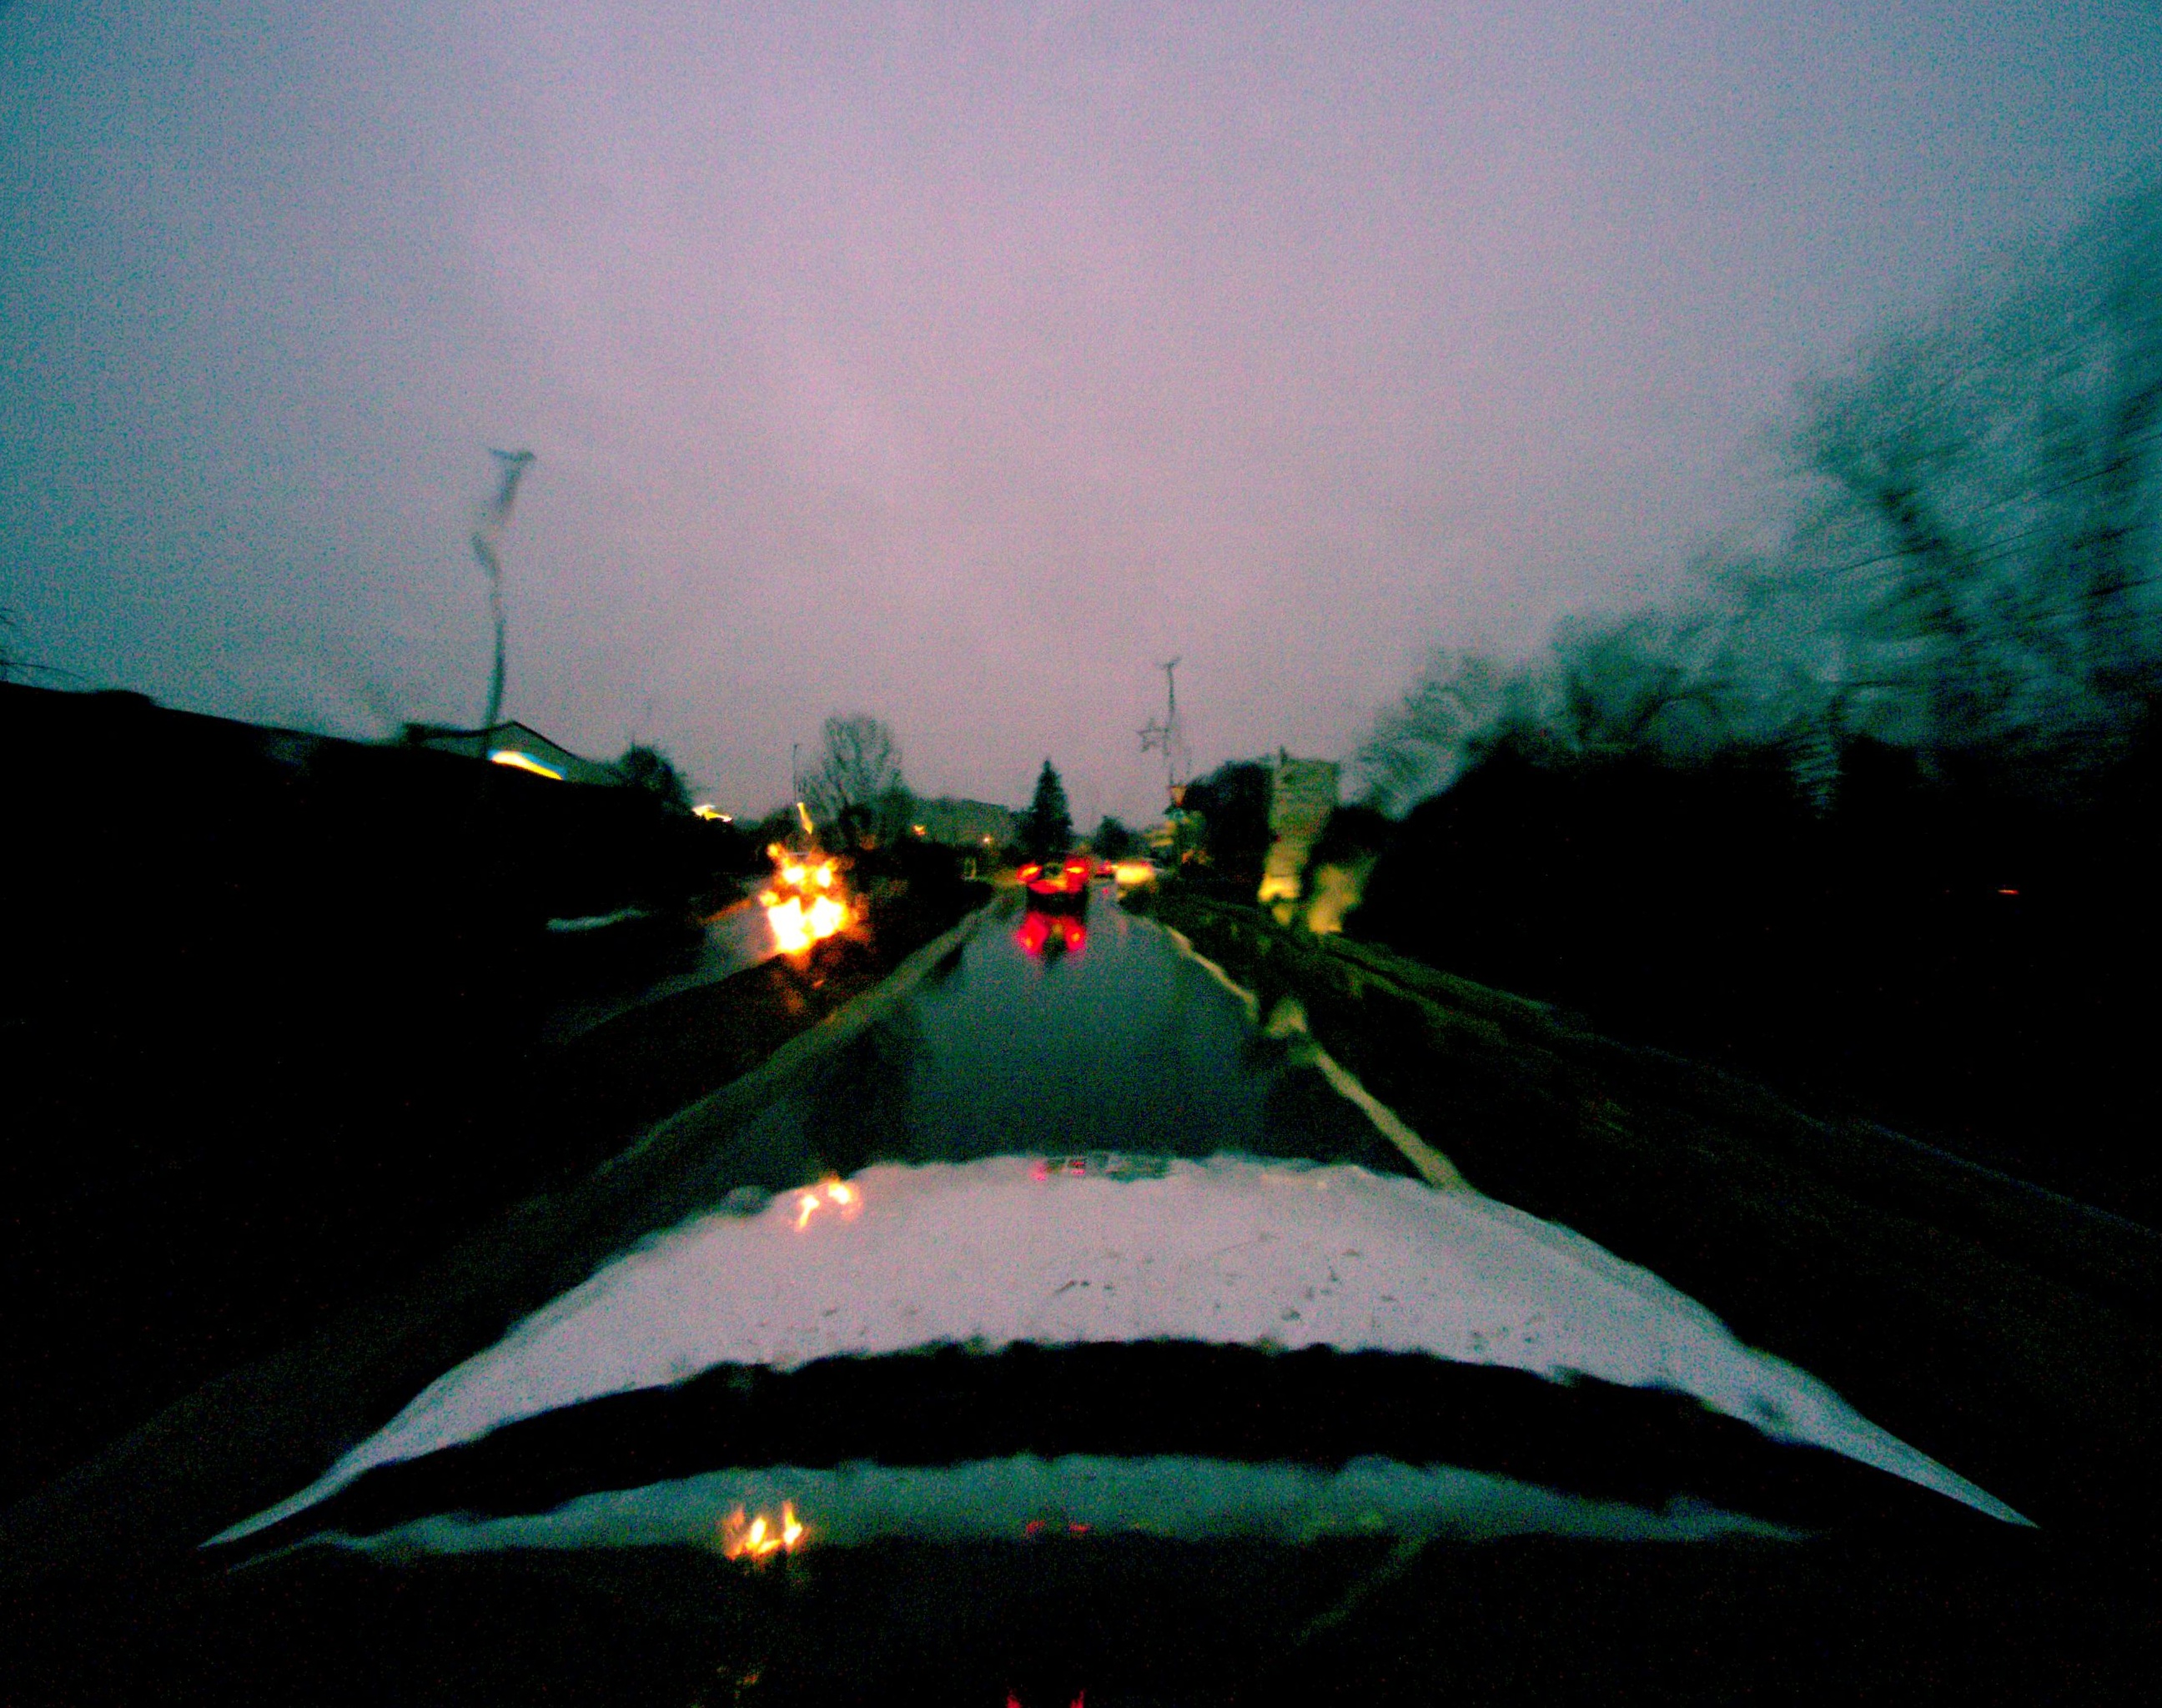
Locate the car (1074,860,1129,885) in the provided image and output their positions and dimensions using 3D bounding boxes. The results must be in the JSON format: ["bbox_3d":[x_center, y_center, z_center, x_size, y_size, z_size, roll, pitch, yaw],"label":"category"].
[{"bbox_3d":[1.328,1.244,54.077,1.891,1.615,4.534,1,-2,-24],"label":"car"}]

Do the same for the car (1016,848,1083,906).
[{"bbox_3d":[-0.941,0.707,26.444,1.938,1.718,4.000,1,0,1],"label":"car"}]

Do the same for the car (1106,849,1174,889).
[{"bbox_3d":[2.836,0.621,37.825,2.146,1.689,4.592,0,1,17],"label":"car"}]

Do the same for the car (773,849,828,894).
[{"bbox_3d":[-9.897,0.570,28.900,1.610,1.469,3.666,0,0,-15],"label":"car"}]
